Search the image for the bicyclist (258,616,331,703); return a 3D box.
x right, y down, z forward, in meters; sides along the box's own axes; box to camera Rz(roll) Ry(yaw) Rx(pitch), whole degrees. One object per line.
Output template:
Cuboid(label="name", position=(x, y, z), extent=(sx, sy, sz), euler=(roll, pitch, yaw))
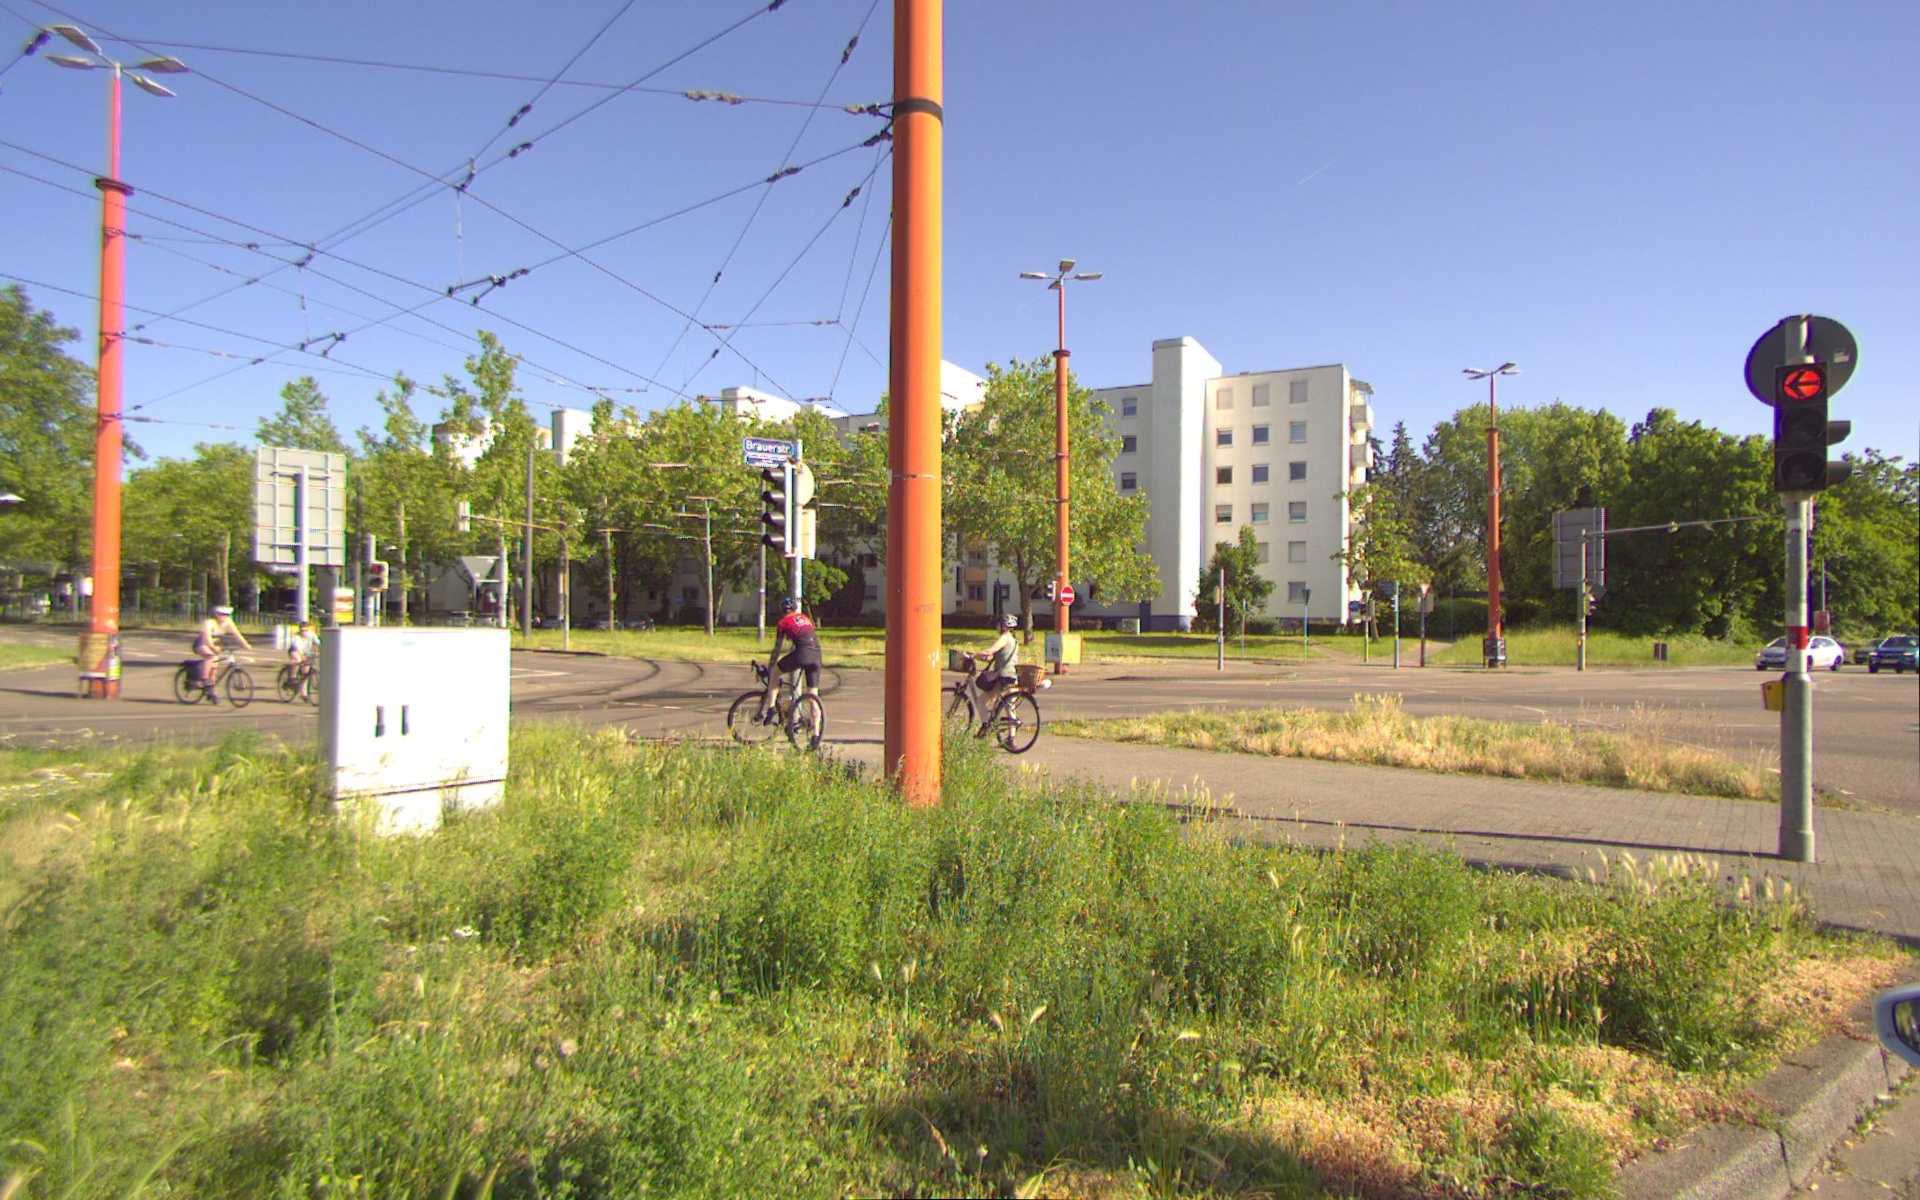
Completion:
Cuboid(label="bicyclist", position=(-13.213, 1.161, 19.969), extent=(0.726, 1.659, 0.934), euler=(0, -1, 18))

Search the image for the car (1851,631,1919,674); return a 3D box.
Cuboid(label="car", position=(37.266, 2.040, 39.867), extent=(4.079, 1.594, 1.981), euler=(2, -1, -35))

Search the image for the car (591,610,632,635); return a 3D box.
Cuboid(label="car", position=(-26.112, 1.687, 75.329), extent=(1.962, 1.840, 3.997), euler=(1, -1, -5))

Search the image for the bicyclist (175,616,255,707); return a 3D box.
Cuboid(label="bicyclist", position=(-14.003, 1.132, 18.898), extent=(0.726, 1.659, 0.934), euler=(0, -1, 18))

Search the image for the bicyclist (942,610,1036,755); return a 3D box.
Cuboid(label="bicyclist", position=(0.358, 0.956, 12.098), extent=(0.728, 1.659, 0.931), euler=(0, -1, 35))

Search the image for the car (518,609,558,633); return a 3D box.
Cuboid(label="car", position=(-33.811, 1.672, 80.528), extent=(1.963, 1.840, 3.995), euler=(1, -1, -8))

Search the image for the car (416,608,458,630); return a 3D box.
Cuboid(label="car", position=(-46.026, 1.677, 88.476), extent=(1.963, 1.840, 3.995), euler=(1, -1, -8))

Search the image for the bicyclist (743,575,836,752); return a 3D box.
Cuboid(label="bicyclist", position=(-2.067, 0.747, 12.140), extent=(0.921, 2.040, 0.736), euler=(1, -1, -25))

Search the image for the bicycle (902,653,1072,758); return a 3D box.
Cuboid(label="bicycle", position=(0.313, 1.225, 12.122), extent=(1.855, 1.102, 0.925), euler=(0, -1, 34))

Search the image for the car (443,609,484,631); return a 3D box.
Cuboid(label="car", position=(-42.677, 1.700, 86.448), extent=(1.963, 1.840, 3.995), euler=(1, -1, -8))

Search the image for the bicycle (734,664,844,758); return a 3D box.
Cuboid(label="bicycle", position=(-2.116, 1.306, 12.237), extent=(0.915, 0.976, 1.747), euler=(1, -1, -24))

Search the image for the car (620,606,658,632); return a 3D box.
Cuboid(label="car", position=(-23.406, 1.400, 73.418), extent=(1.963, 1.840, 3.995), euler=(1, -1, -8))

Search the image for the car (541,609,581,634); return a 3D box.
Cuboid(label="car", position=(-31.196, 1.677, 78.678), extent=(1.963, 1.840, 3.995), euler=(1, -1, -8))

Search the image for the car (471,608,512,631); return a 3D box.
Cuboid(label="car", position=(-39.287, 1.642, 84.326), extent=(1.963, 1.840, 3.995), euler=(1, -1, -8))

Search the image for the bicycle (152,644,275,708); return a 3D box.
Cuboid(label="bicycle", position=(-14.030, 1.411, 18.896), extent=(1.849, 1.102, 0.928), euler=(0, -1, 18))

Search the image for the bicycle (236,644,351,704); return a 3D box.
Cuboid(label="bicycle", position=(-13.252, 1.441, 19.981), extent=(1.849, 1.102, 0.928), euler=(0, -1, 18))

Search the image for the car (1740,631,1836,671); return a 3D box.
Cuboid(label="car", position=(35.142, 2.152, 42.608), extent=(4.075, 1.594, 1.983), euler=(1, -1, -32))
